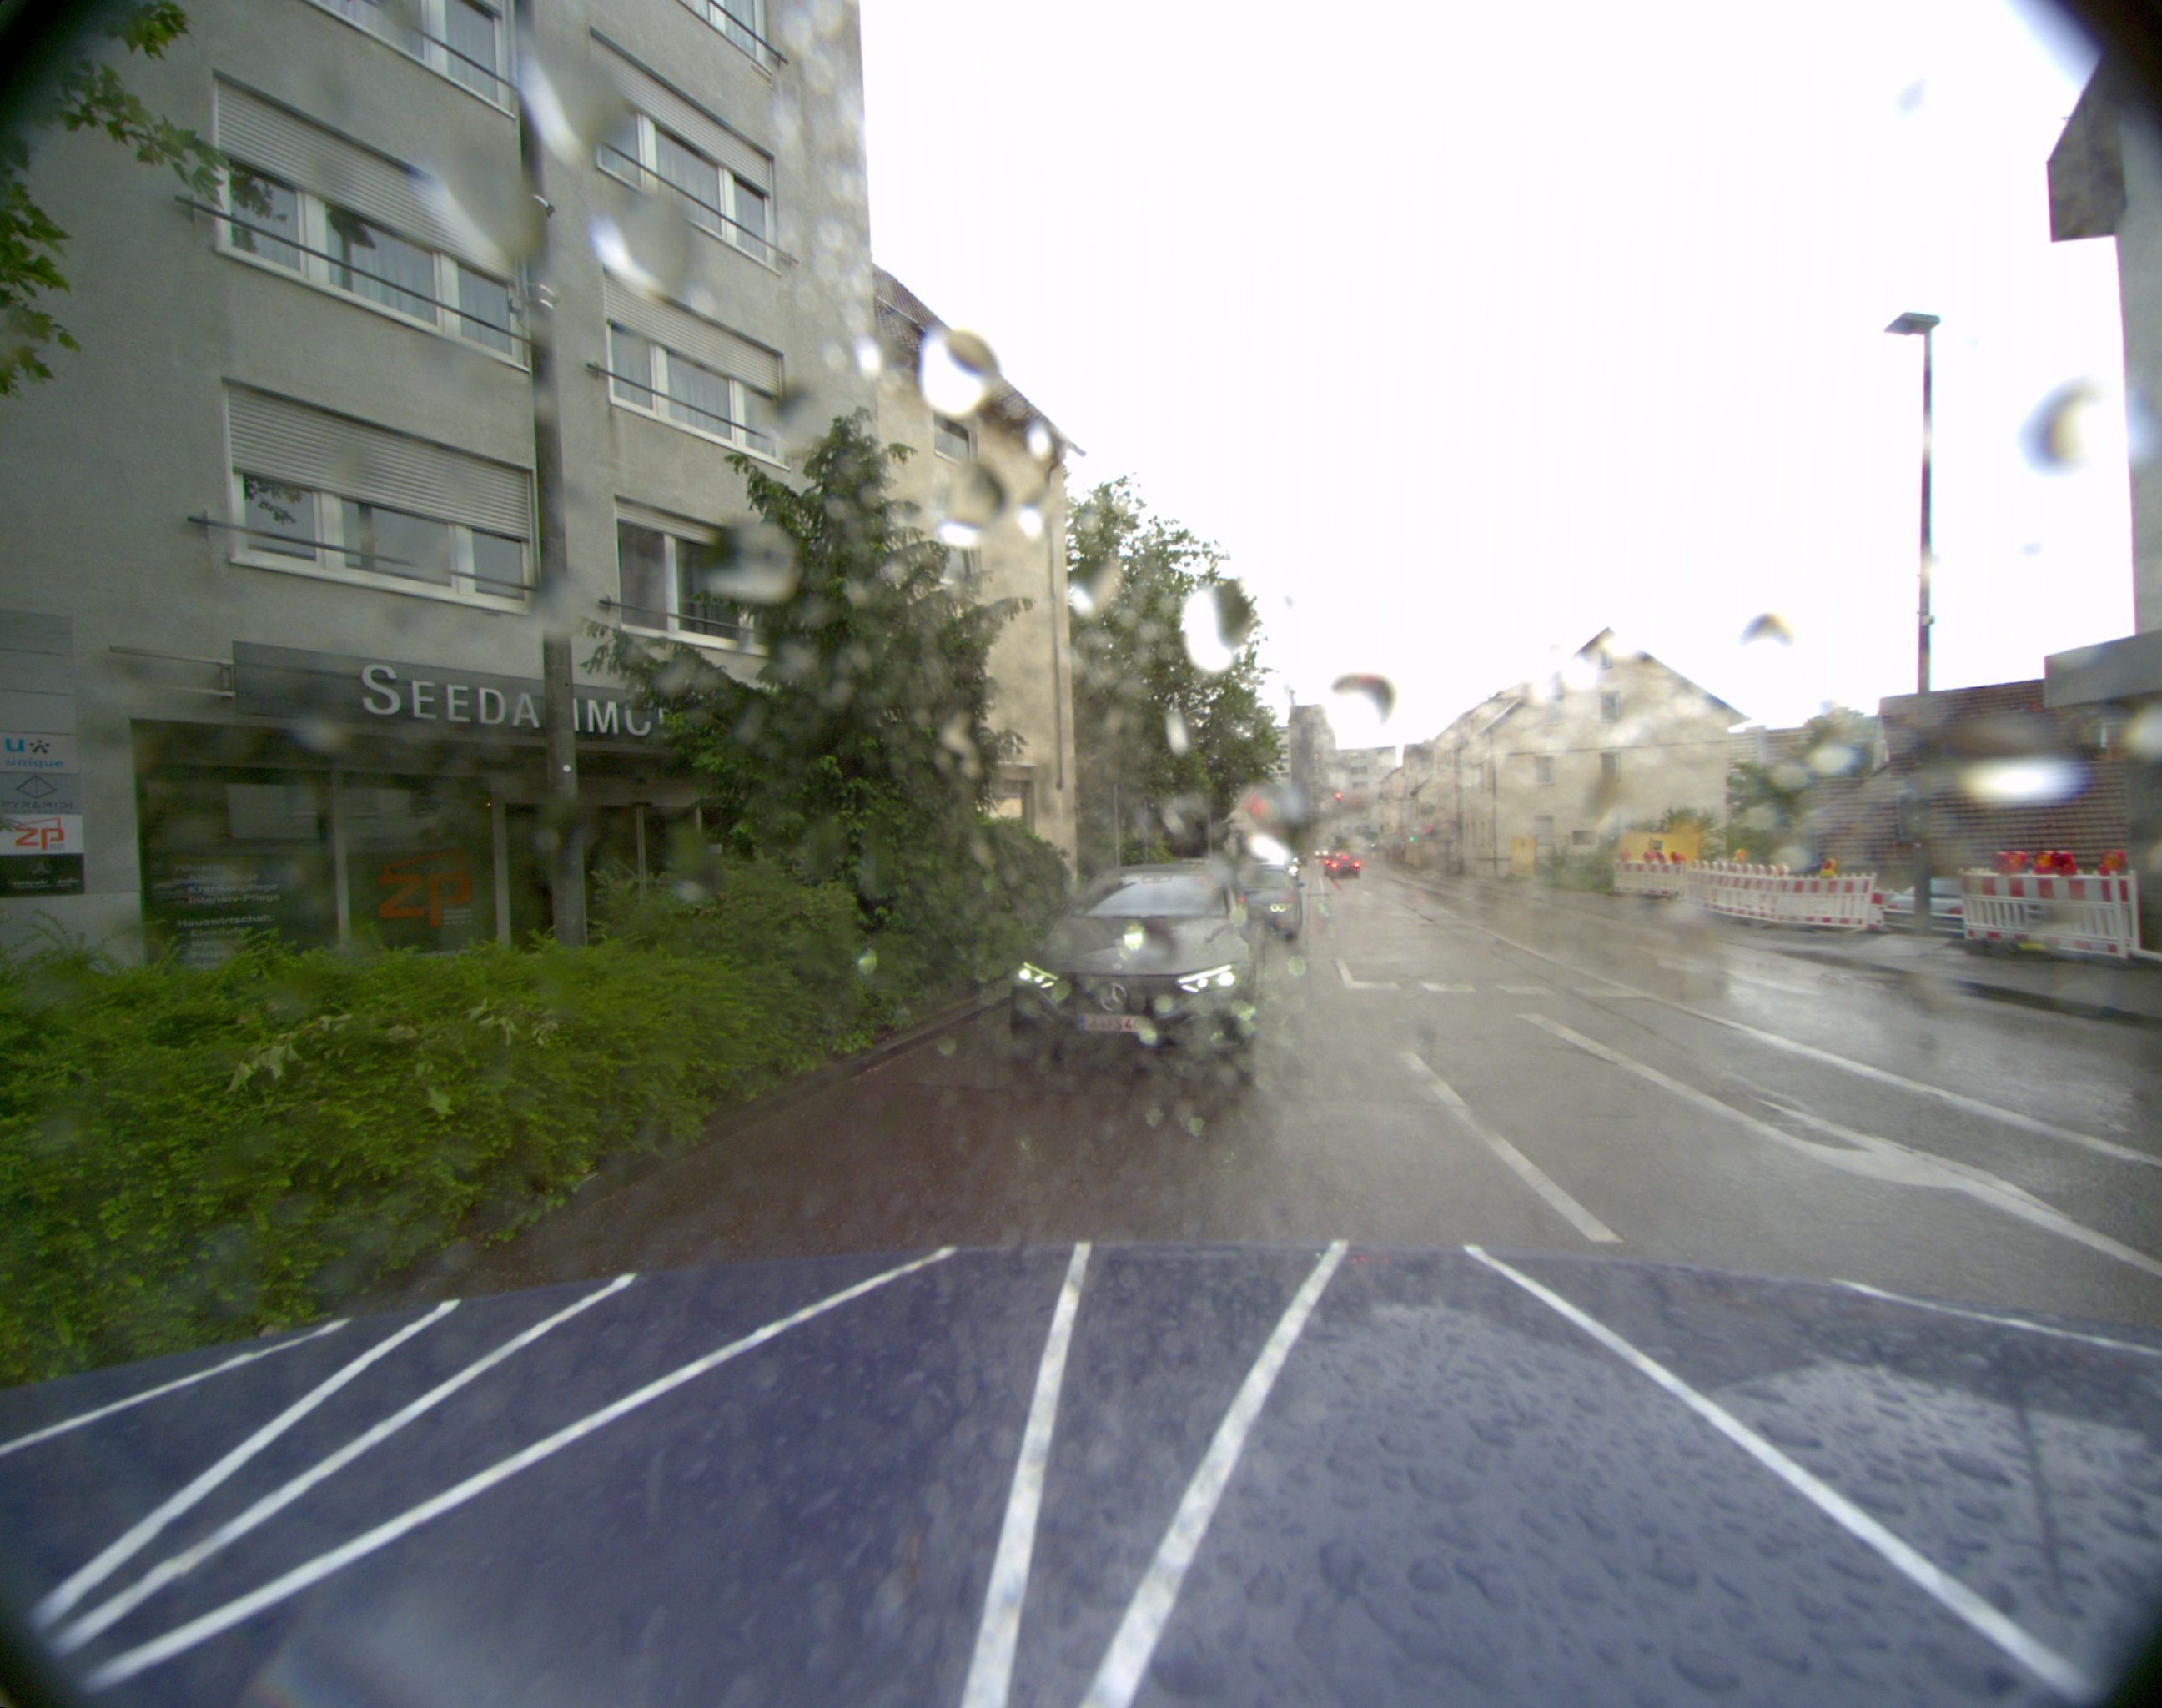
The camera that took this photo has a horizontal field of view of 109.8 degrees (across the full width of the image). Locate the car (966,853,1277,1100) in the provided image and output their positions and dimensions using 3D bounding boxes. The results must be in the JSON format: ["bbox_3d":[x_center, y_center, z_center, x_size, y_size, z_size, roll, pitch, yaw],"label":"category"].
[{"bbox_3d":[0.740,0.811,7.120,1.818,1.562,4.281,-3,-1,18],"label":"car"}]
